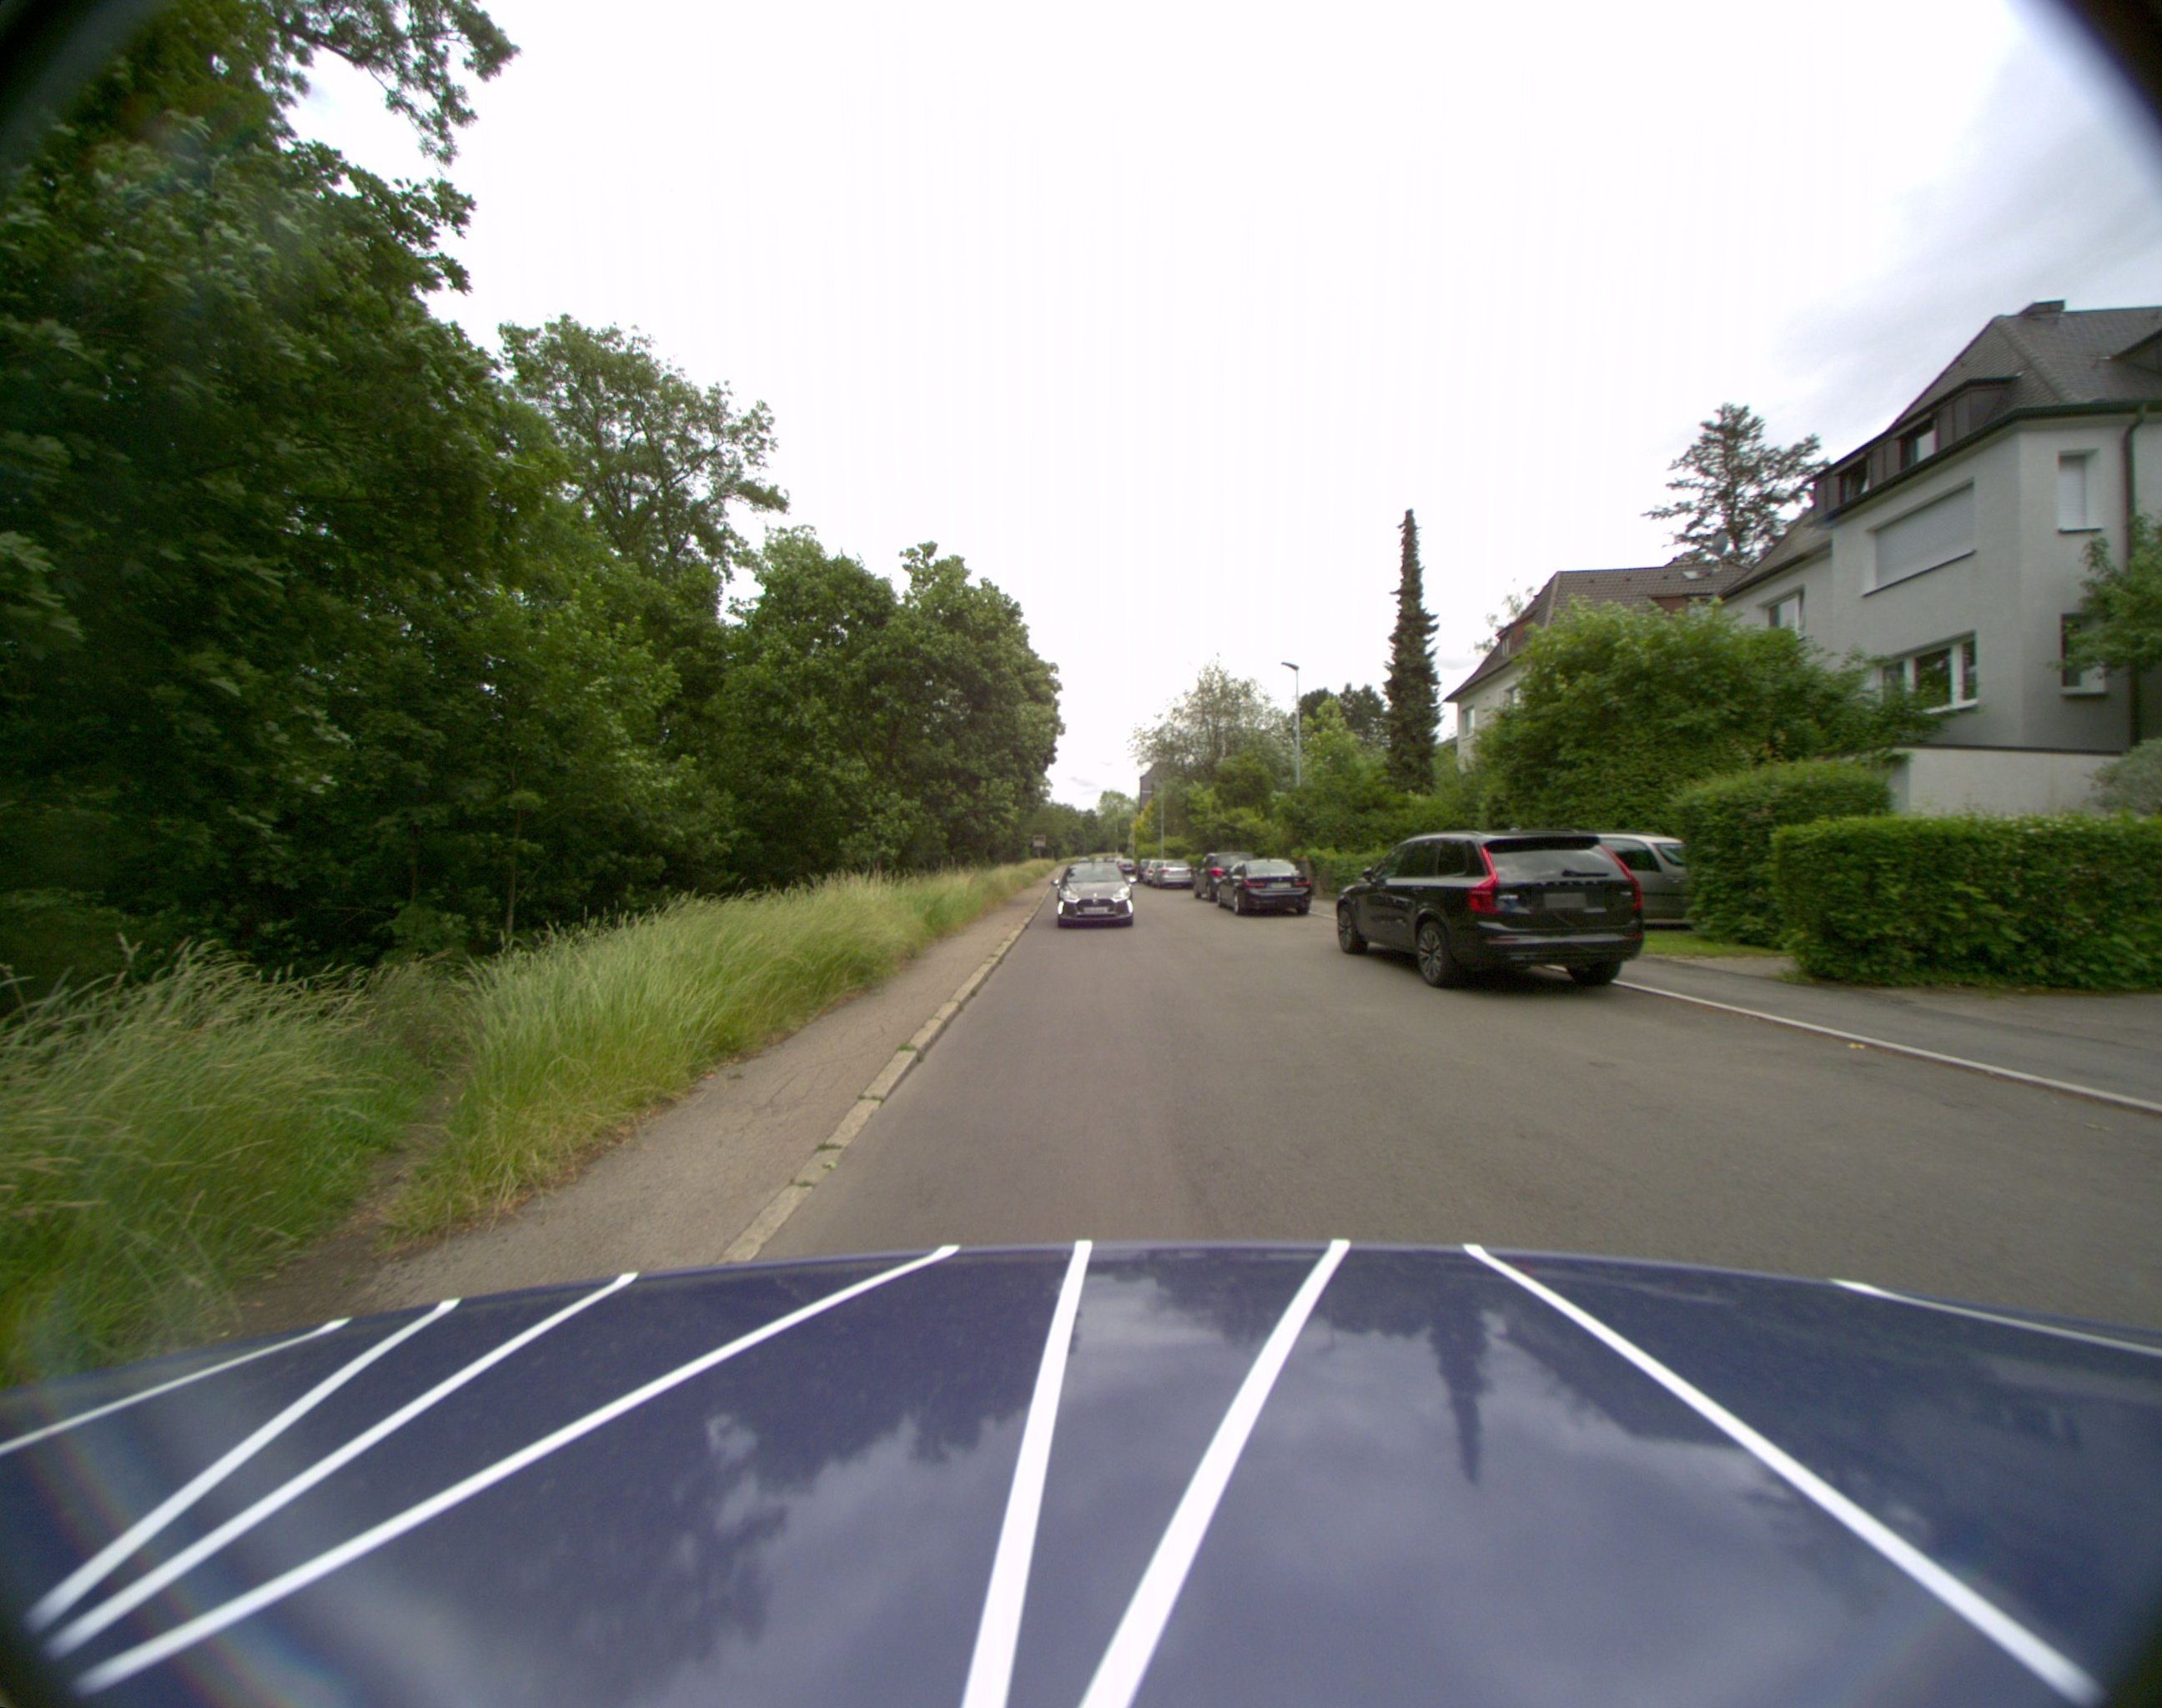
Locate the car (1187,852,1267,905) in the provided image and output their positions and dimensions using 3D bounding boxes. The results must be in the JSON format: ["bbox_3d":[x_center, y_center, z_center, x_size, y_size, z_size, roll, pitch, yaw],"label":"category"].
[{"bbox_3d":[4.893,0.770,26.067,1.736,1.623,4.568,-2,0,-1],"label":"car"}]

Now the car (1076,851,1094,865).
[{"bbox_3d":[0.419,0.447,82.753,1.785,1.417,4.489,-1,0,-2],"label":"car"}]

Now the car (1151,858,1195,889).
[{"bbox_3d":[4.574,0.957,38.334,1.627,1.441,4.093,0,0,-1],"label":"car"}]

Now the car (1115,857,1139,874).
[{"bbox_3d":[4.135,1.025,69.009,1.783,1.423,5.104,-1,0,-2],"label":"car"}]

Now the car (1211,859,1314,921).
[{"bbox_3d":[4.767,0.873,20.617,1.758,1.404,4.899,-2,0,2],"label":"car"}]

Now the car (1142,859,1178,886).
[{"bbox_3d":[4.542,1.032,44.073,1.664,1.444,4.381,0,0,0],"label":"car"}]

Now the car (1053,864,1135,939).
[{"bbox_3d":[0.393,0.977,17.279,1.619,1.460,4.001,-1,0,4],"label":"car"}]

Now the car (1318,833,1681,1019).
[{"bbox_3d":[4.825,0.698,9.892,1.979,1.726,5.190,-2,0,2],"label":"car"}]

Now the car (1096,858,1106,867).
[{"bbox_3d":[3.596,1.536,137.508,1.646,1.461,4.072,1,0,2],"label":"car"}]

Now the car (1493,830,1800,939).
[{"bbox_3d":[9.251,0.503,12.788,3.698,1.628,1.830,-2,0,13],"label":"car"}]

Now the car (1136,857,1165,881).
[{"bbox_3d":[4.429,0.951,48.791,1.627,1.441,3.969,0,0,1],"label":"car"}]

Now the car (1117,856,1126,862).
[{"bbox_3d":[10.121,1.207,189.082,1.735,1.420,3.460,1,1,11],"label":"car"}]

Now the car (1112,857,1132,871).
[{"bbox_3d":[4.015,0.977,75.497,1.628,1.423,4.350,0,0,-2],"label":"car"}]
